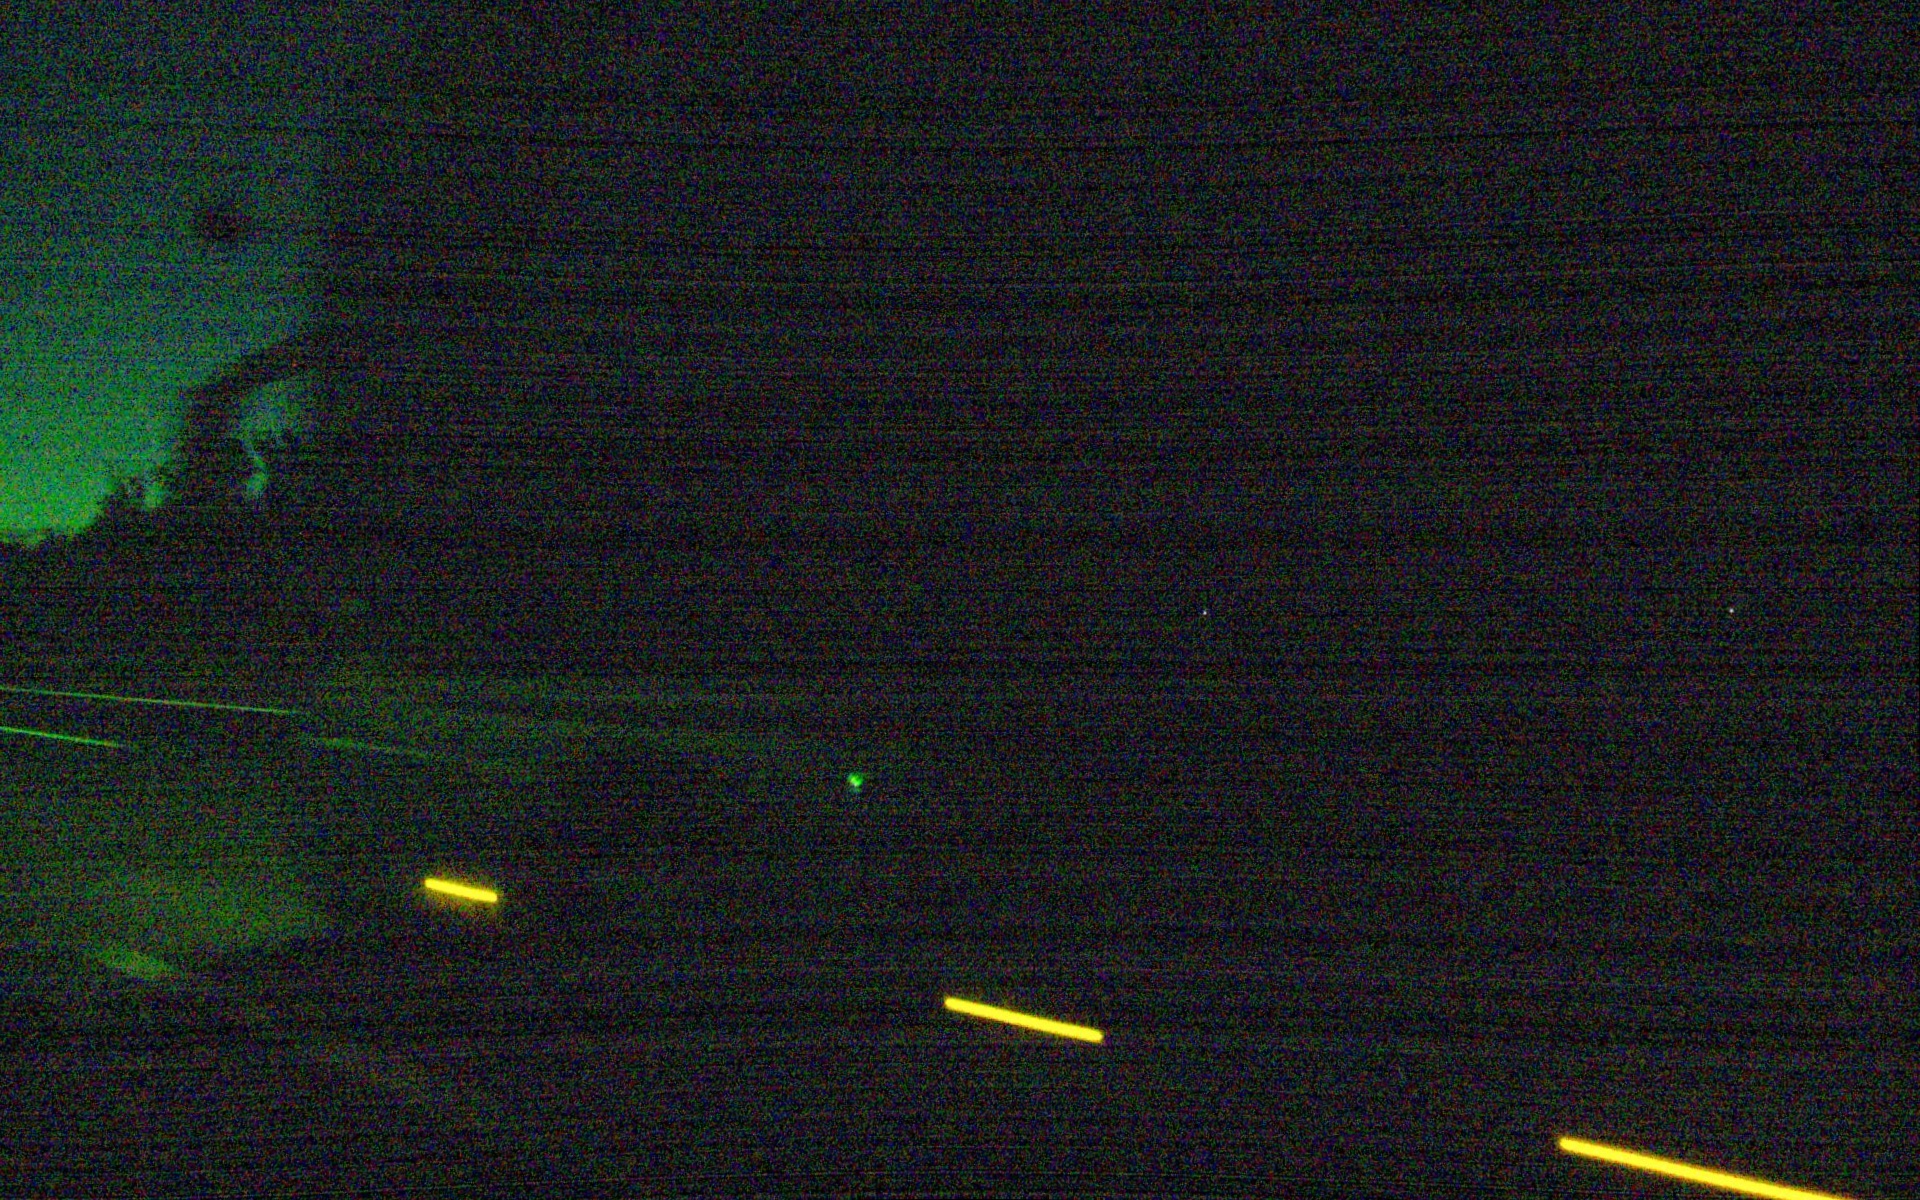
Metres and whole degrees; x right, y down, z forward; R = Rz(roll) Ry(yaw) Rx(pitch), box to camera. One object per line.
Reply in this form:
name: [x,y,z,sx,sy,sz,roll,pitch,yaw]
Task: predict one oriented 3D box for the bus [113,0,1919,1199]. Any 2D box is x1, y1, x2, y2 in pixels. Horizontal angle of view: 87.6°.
bus: [2.784,-0.596,2.122,14.491,4.044,2.649,-1,-3,32]
